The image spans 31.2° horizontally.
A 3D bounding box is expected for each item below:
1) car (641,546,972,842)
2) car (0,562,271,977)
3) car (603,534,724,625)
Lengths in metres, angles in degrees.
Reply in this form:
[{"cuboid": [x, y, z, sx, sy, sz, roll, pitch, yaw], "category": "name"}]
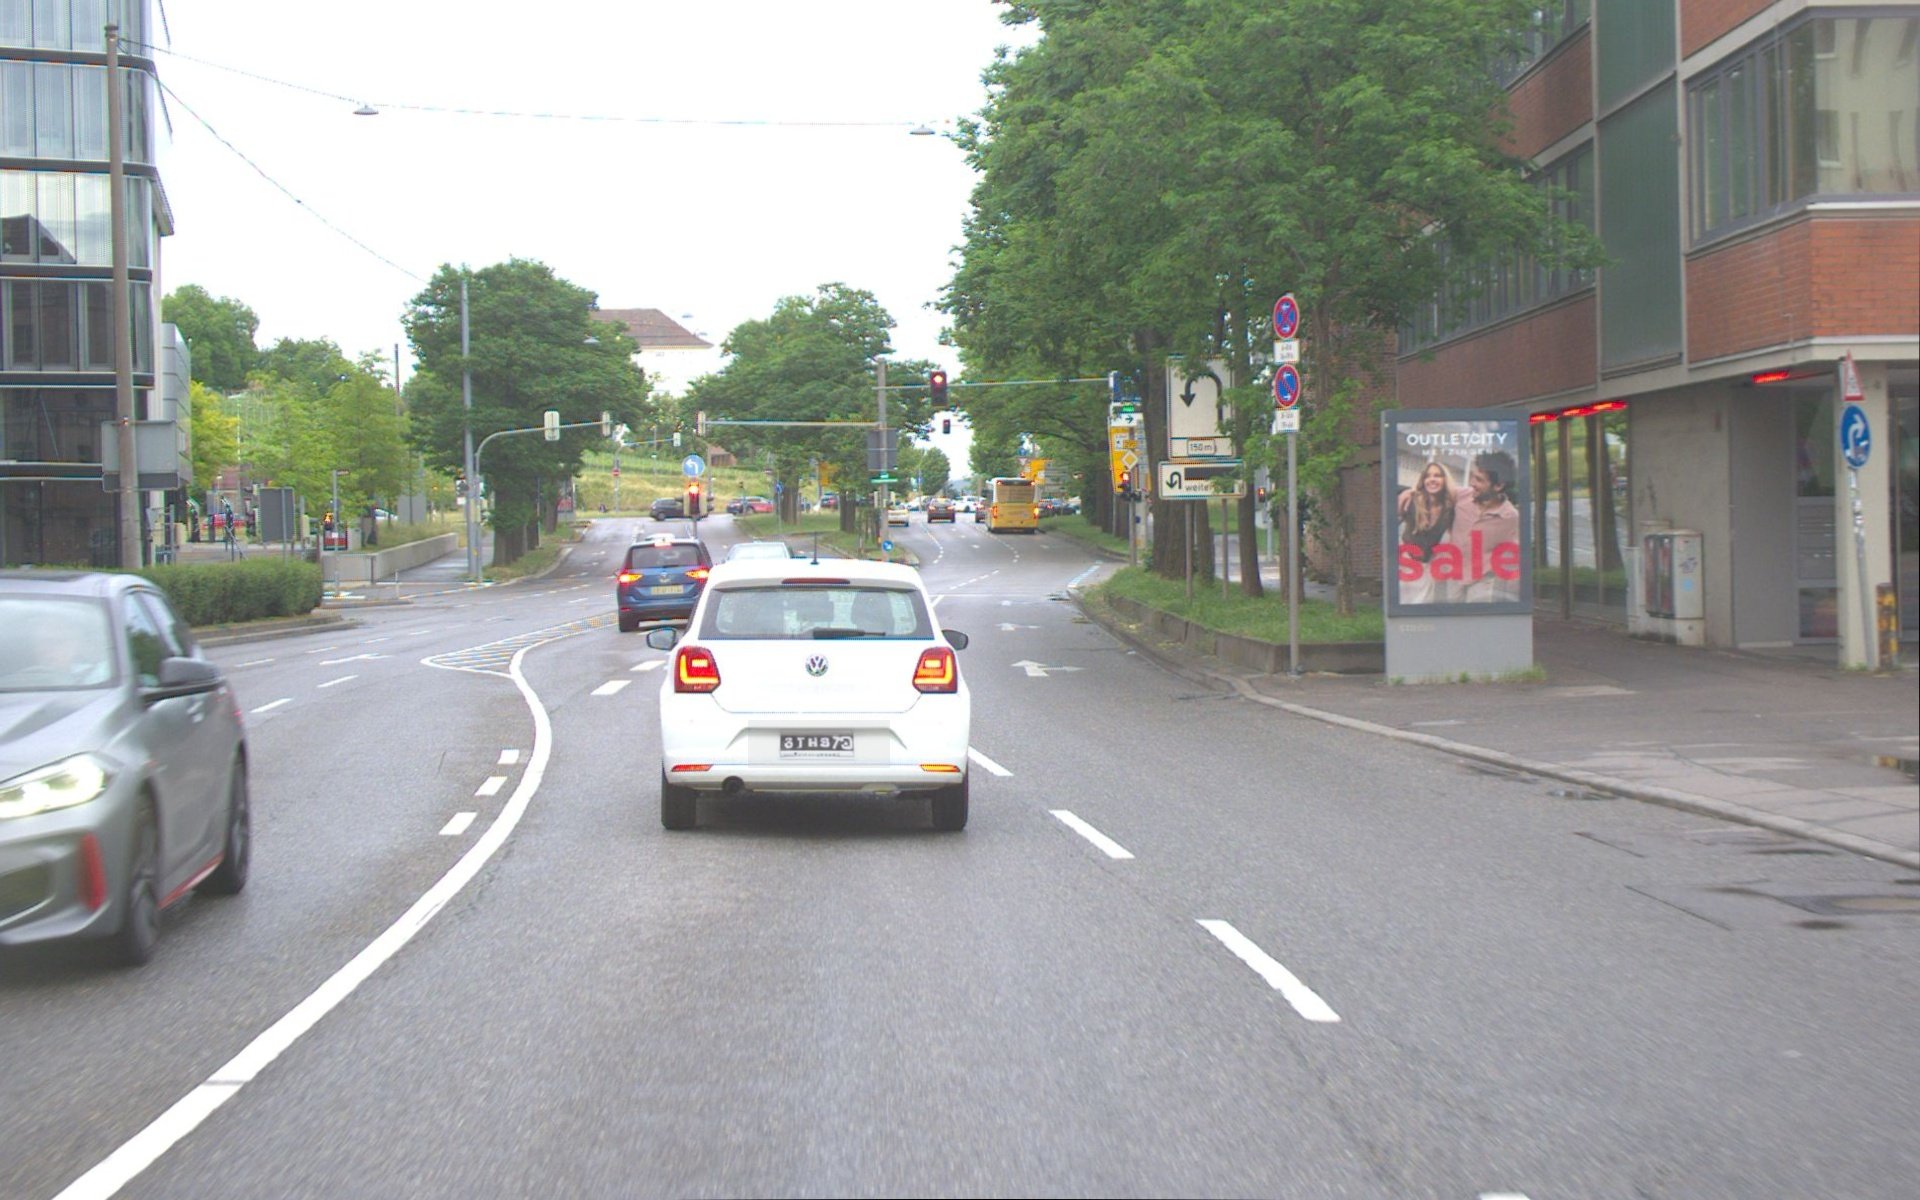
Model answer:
[{"cuboid": [-0.902, 0.450, 19.496, 1.671, 1.469, 3.780, -1, 1, -4], "category": "car"}, {"cuboid": [-3.849, 0.563, 13.369, 1.712, 1.360, 4.001, -2, 1, -3], "category": "car"}, {"cuboid": [-5.367, -0.403, 62.718, 1.993, 1.568, 4.001, -1, 1, -2], "category": "car"}]
